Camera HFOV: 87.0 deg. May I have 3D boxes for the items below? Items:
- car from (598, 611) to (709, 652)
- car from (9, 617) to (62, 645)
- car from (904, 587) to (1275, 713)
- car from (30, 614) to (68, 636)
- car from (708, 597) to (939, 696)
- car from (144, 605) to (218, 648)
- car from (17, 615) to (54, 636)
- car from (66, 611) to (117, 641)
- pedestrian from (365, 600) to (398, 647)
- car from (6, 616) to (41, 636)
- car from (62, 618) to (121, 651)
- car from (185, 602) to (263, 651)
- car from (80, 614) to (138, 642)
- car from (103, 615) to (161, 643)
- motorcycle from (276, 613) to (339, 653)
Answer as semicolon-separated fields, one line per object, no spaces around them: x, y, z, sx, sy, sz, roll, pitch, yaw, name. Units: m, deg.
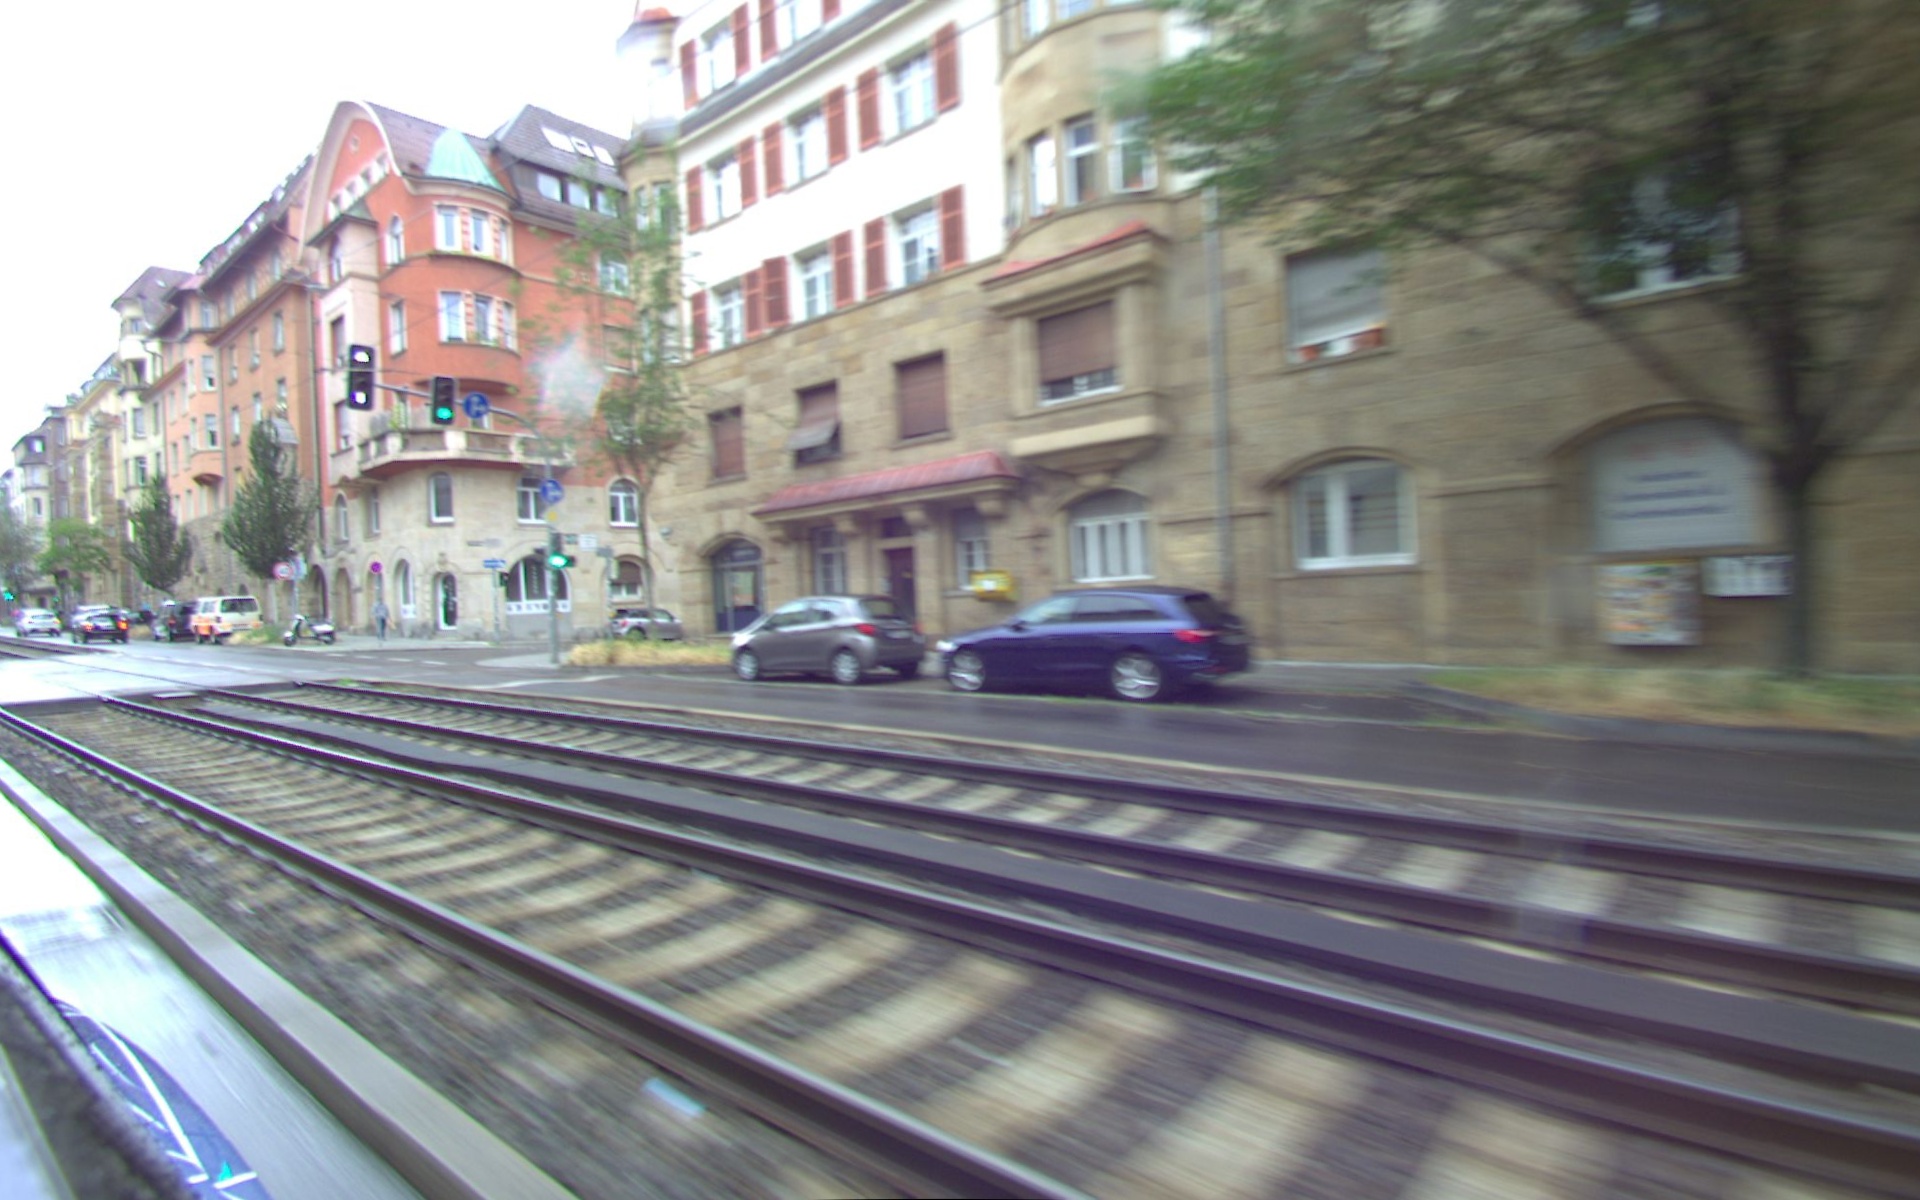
-12.242;1.228;40.630;1.746;1.478;3.945;0;0;41;car
-54.527;1.809;59.674;4.059;1.514;1.763;0;0;40;car
1.639;0.584;14.099;4.975;1.471;1.763;0;0;40;car
-68.141;1.860;75.660;3.712;1.493;1.695;0;3;43;car
-2.483;0.732;17.819;4.172;1.541;1.673;0;0;40;car
-37.136;1.220;48.198;4.830;1.945;1.886;0;0;41;car
-72.741;1.957;79.601;4.043;1.462;1.736;0;3;43;car
-54.264;1.578;63.196;4.257;1.684;1.737;0;3;41;car
-22.367;0.910;39.145;0.892;1.731;0.710;0;6;42;pedestrian
-76.505;2.088;82.645;3.712;1.438;1.736;0;3;43;car
-41.048;1.608;47.802;3.733;1.474;1.636;-1;-1;41;car
-31.664;1.097;43.484;4.473;1.945;1.711;0;0;40;car
-50.015;1.626;59.451;4.594;1.502;1.738;0;2;40;car
-46.119;1.601;56.368;3.691;1.414;1.738;0;3;39;car
-23.545;1.173;36.526;1.754;1.385;0.770;-1;0;-17;motorcycle
